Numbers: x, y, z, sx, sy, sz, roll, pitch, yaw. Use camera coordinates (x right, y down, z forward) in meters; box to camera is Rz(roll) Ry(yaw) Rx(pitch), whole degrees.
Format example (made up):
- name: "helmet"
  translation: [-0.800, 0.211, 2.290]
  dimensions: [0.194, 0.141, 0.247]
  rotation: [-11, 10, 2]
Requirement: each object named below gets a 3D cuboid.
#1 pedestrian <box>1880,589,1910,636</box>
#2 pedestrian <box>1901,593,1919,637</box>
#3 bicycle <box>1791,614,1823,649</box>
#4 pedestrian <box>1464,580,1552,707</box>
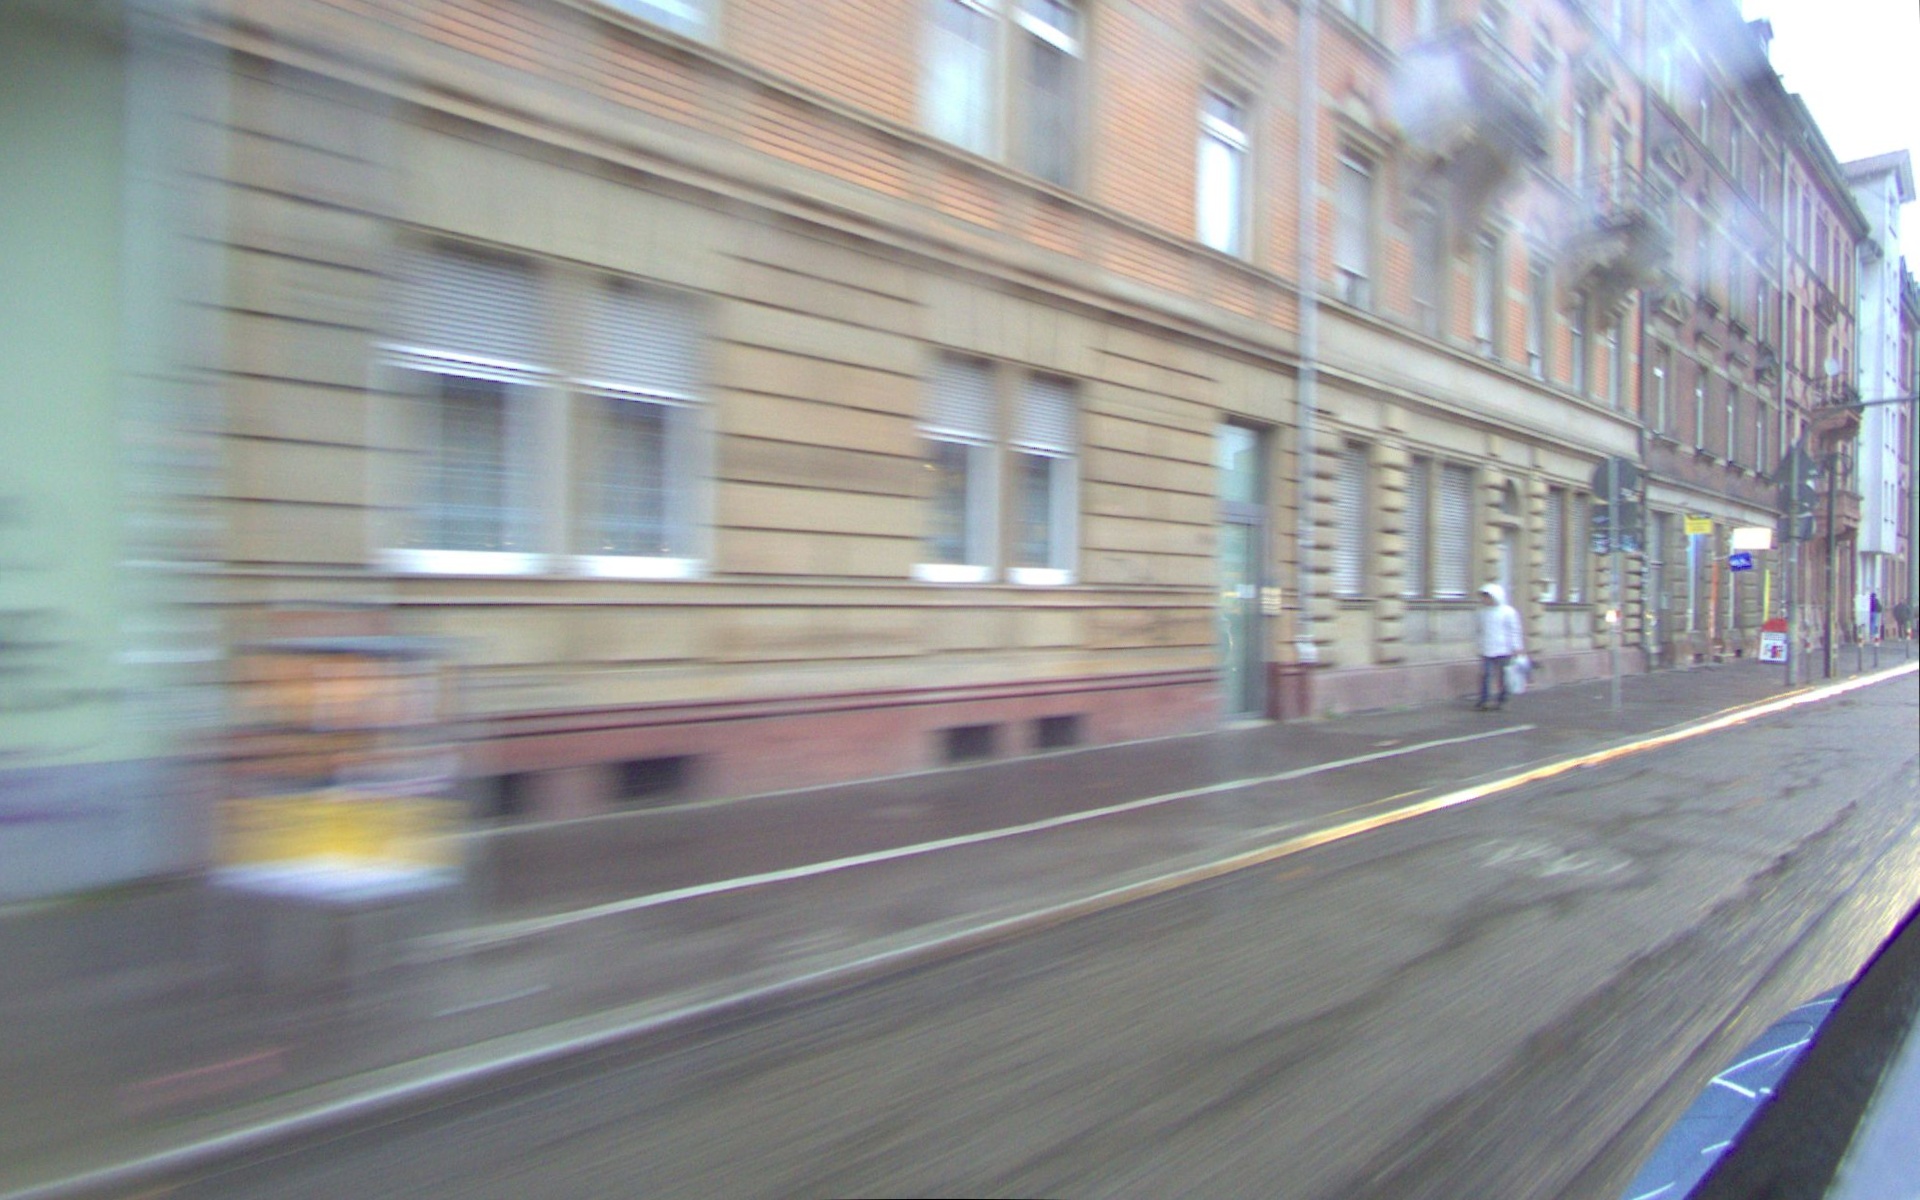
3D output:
- name: "pedestrian"
  translation: [36.487, 0.478, 39.493]
  dimensions: [0.661, 1.766, 0.777]
  rotation: [0, 1, -40]
- name: "pedestrian"
  translation: [38.511, 0.600, 40.795]
  dimensions: [0.661, 1.766, 0.777]
  rotation: [0, 1, -40]
- name: "bicycle"
  translation: [23.698, 0.878, 28.316]
  dimensions: [1.834, 0.922, 0.398]
  rotation: [0, 0, -41]
- name: "pedestrian"
  translation: [7.236, 0.545, 13.380]
  dimensions: [0.728, 1.617, 0.788]
  rotation: [0, 0, -37]
